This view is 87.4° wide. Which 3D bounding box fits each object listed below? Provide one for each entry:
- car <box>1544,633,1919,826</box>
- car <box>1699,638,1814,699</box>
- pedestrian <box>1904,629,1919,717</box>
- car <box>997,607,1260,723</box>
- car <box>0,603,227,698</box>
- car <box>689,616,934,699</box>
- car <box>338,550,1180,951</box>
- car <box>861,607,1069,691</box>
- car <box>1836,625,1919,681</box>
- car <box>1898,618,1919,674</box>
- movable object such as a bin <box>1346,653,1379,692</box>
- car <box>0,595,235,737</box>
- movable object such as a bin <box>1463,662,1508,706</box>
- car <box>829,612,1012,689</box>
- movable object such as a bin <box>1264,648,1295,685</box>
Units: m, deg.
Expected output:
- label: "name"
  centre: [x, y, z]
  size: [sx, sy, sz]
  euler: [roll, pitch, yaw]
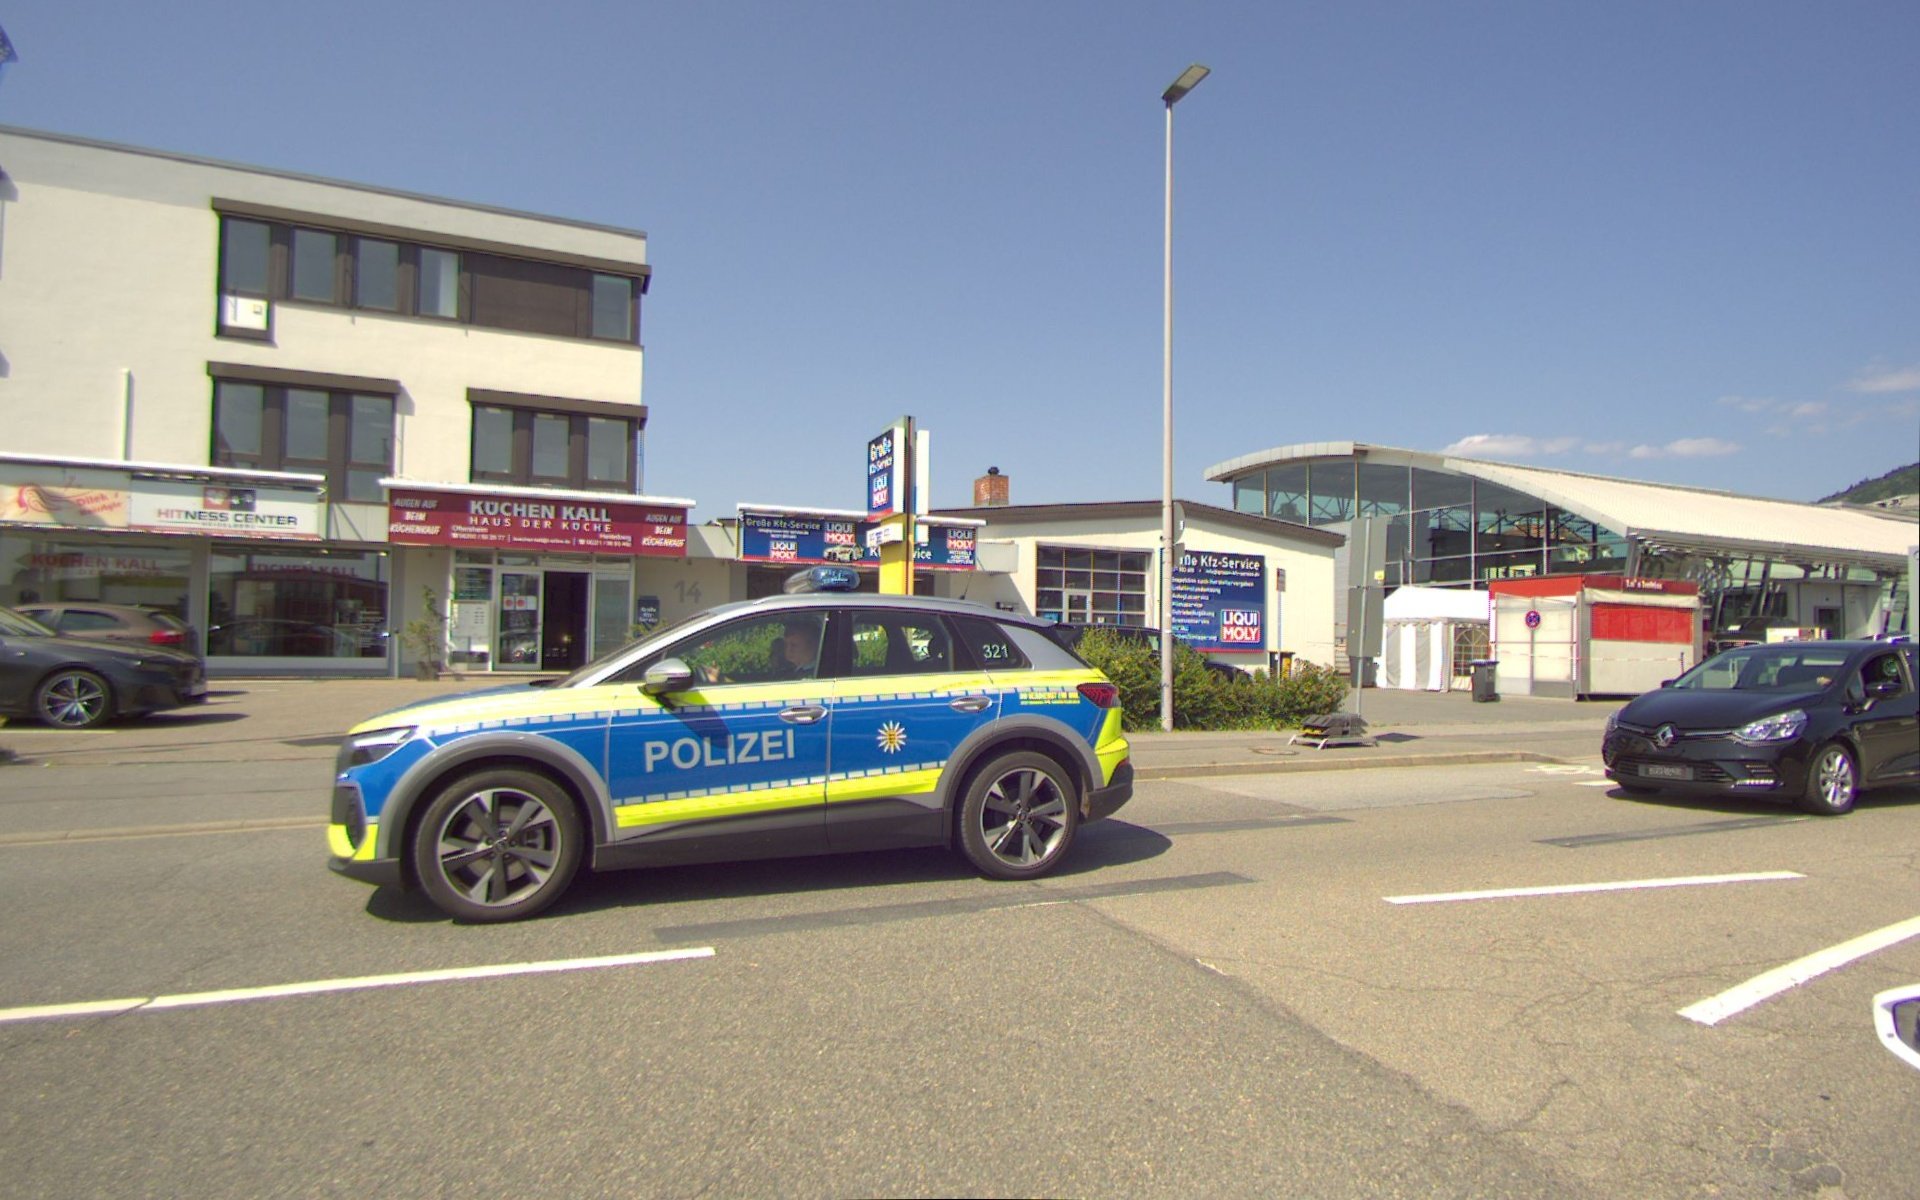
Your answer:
- label: "car"
  centre: [7.660, 1.084, 9.258]
  size: [4.177, 1.473, 1.659]
  euler: [1, -4, -21]
- label: "car"
  centre: [25.924, 2.158, 32.629]
  size: [4.694, 1.742, 1.977]
  euler: [2, 0, -40]
- label: "pedestrian"
  centre: [20.884, 1.550, 21.495]
  size: [0.900, 1.872, 0.720]
  euler: [1, -3, -29]
- label: "car"
  centre: [2.793, 1.055, 16.765]
  size: [3.942, 1.737, 1.901]
  euler: [1, -3, -23]
- label: "car"
  centre: [-14.548, 0.795, 15.848]
  size: [4.419, 1.406, 1.904]
  euler: [1, -3, -22]
- label: "car"
  centre: [-2.850, 1.088, 19.219]
  size: [4.353, 1.439, 1.904]
  euler: [1, -3, -22]
- label: "car"
  centre: [-1.033, 0.741, 6.093]
  size: [4.286, 1.781, 1.891]
  euler: [1, -3, -19]
- label: "car"
  centre: [0.108, 1.176, 23.340]
  size: [4.411, 1.730, 1.905]
  euler: [3, -3, -20]
- label: "car"
  centre: [28.645, 1.652, 29.518]
  size: [4.091, 1.478, 1.903]
  euler: [4, 0, 34]
- label: "car"
  centre: [32.048, 1.526, 30.799]
  size: [4.403, 1.631, 1.961]
  euler: [3, 4, 31]
- label: "movable object such as a bin"
  centre: [11.392, 2.047, 28.457]
  size: [0.677, 1.057, 0.564]
  euler: [0, 0, -11]
- label: "car"
  centre: [-11.767, 0.768, 11.909]
  size: [4.747, 1.594, 1.904]
  euler: [1, -3, -22]
- label: "movable object such as a bin"
  centre: [11.695, 1.861, 22.352]
  size: [0.677, 0.935, 0.572]
  euler: [0, 0, -11]
- label: "car"
  centre: [-1.020, 1.286, 25.791]
  size: [4.353, 1.840, 1.904]
  euler: [1, -3, -22]
- label: "movable object such as a bin"
  centre: [9.509, 1.973, 29.873]
  size: [0.677, 1.062, 0.587]
  euler: [0, 0, -11]
